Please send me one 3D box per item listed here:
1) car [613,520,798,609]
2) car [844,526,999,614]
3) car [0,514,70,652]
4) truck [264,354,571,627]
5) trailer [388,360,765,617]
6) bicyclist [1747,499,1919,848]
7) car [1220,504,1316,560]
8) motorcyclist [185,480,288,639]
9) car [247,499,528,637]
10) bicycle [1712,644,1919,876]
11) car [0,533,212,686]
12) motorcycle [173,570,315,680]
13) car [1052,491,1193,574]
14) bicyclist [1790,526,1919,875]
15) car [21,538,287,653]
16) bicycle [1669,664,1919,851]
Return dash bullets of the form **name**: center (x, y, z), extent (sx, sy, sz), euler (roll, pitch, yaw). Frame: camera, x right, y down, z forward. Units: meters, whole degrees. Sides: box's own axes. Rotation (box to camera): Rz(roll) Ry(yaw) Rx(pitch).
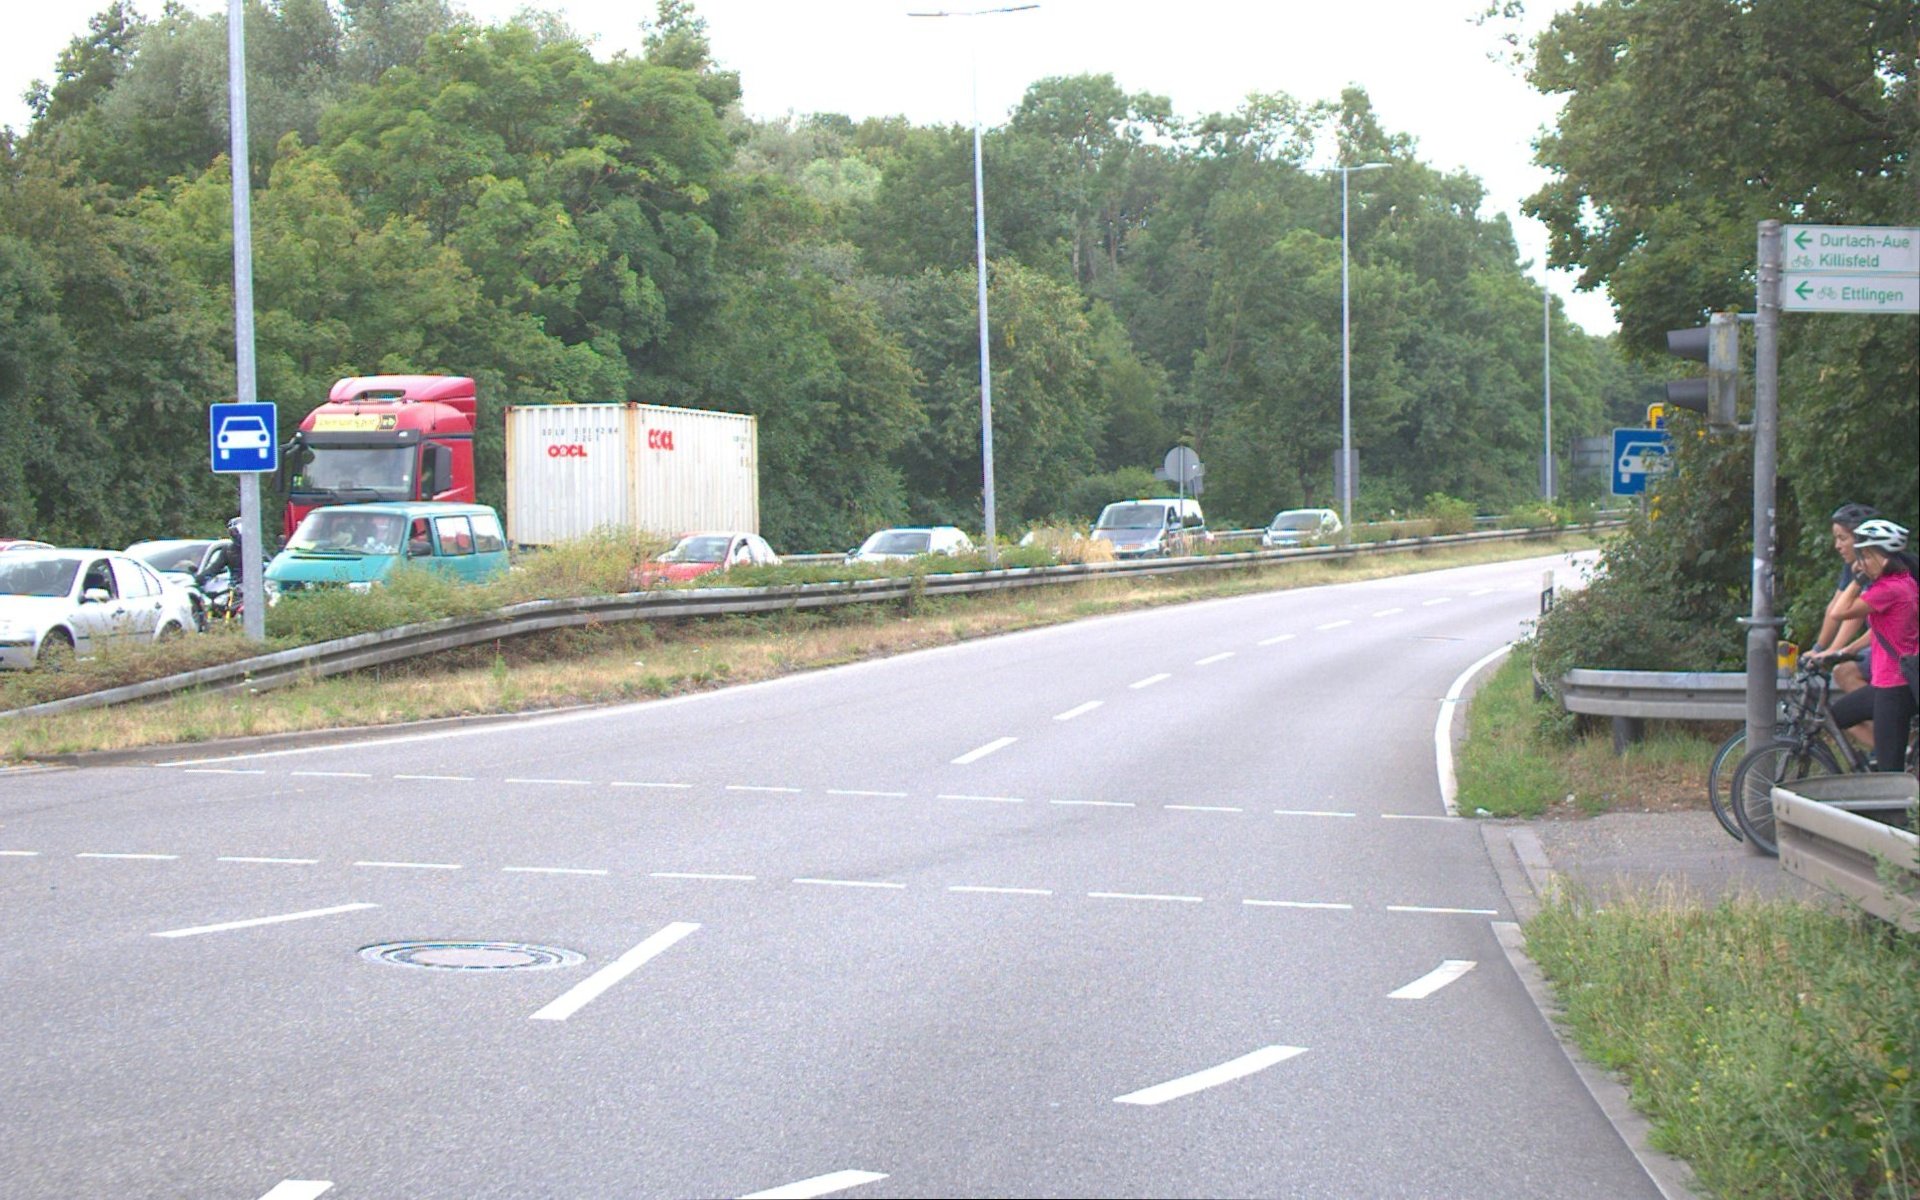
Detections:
- **car**: center (-4.244, -0.612, 57.894), extent (1.805, 1.427, 4.123), euler (1, 1, 16)
- **car**: center (-0.721, -0.610, 67.872), extent (1.842, 1.661, 4.332), euler (1, 1, 17)
- **car**: center (-12.246, -0.206, 40.109), extent (1.995, 1.609, 3.998), euler (1, 1, 13)
- **truck**: center (-8.488, -1.687, 54.438), extent (2.570, 4.069, 5.618), euler (1, 1, 17)
- **trailer**: center (-6.518, -1.877, 60.742), extent (2.537, 4.133, 10.763), euler (1, 1, 17)
- **bicyclist**: center (4.852, 0.384, 18.693), extent (0.949, 1.837, 0.664), euler (-2, 1, 3)
- **car**: center (8.577, -1.877, 95.463), extent (1.769, 1.501, 3.936), euler (1, 1, 19)
- **motorcyclist**: center (-8.370, -0.470, 39.788), extent (0.865, 1.817, 0.925), euler (0, 1, 11)
- **car**: center (-7.491, -0.437, 45.526), extent (1.805, 1.723, 4.957), euler (1, 1, 14)
- **bicycle**: center (4.733, 0.799, 17.363), extent (1.743, 1.134, 0.630), euler (-1, 0, 20)
- **car**: center (-9.650, 0.054, 35.946), extent (1.994, 1.493, 4.398), euler (1, 1, 11)
- **motorcycle**: center (-8.263, 0.267, 39.778), extent (0.799, 1.220, 2.325), euler (0, 1, 10)
- **car**: center (3.826, -1.569, 80.123), extent (2.011, 1.857, 5.274), euler (1, 1, 17)
- **bicyclist**: center (4.675, 0.494, 17.382), extent (0.851, 1.726, 0.636), euler (0, 0, 20)
- **car**: center (-10.733, -0.092, 46.090), extent (1.805, 1.461, 4.276), euler (1, 1, 12)
- **bicycle**: center (4.920, 0.842, 18.705), extent (1.971, 0.937, 0.661), euler (-2, 1, 3)
